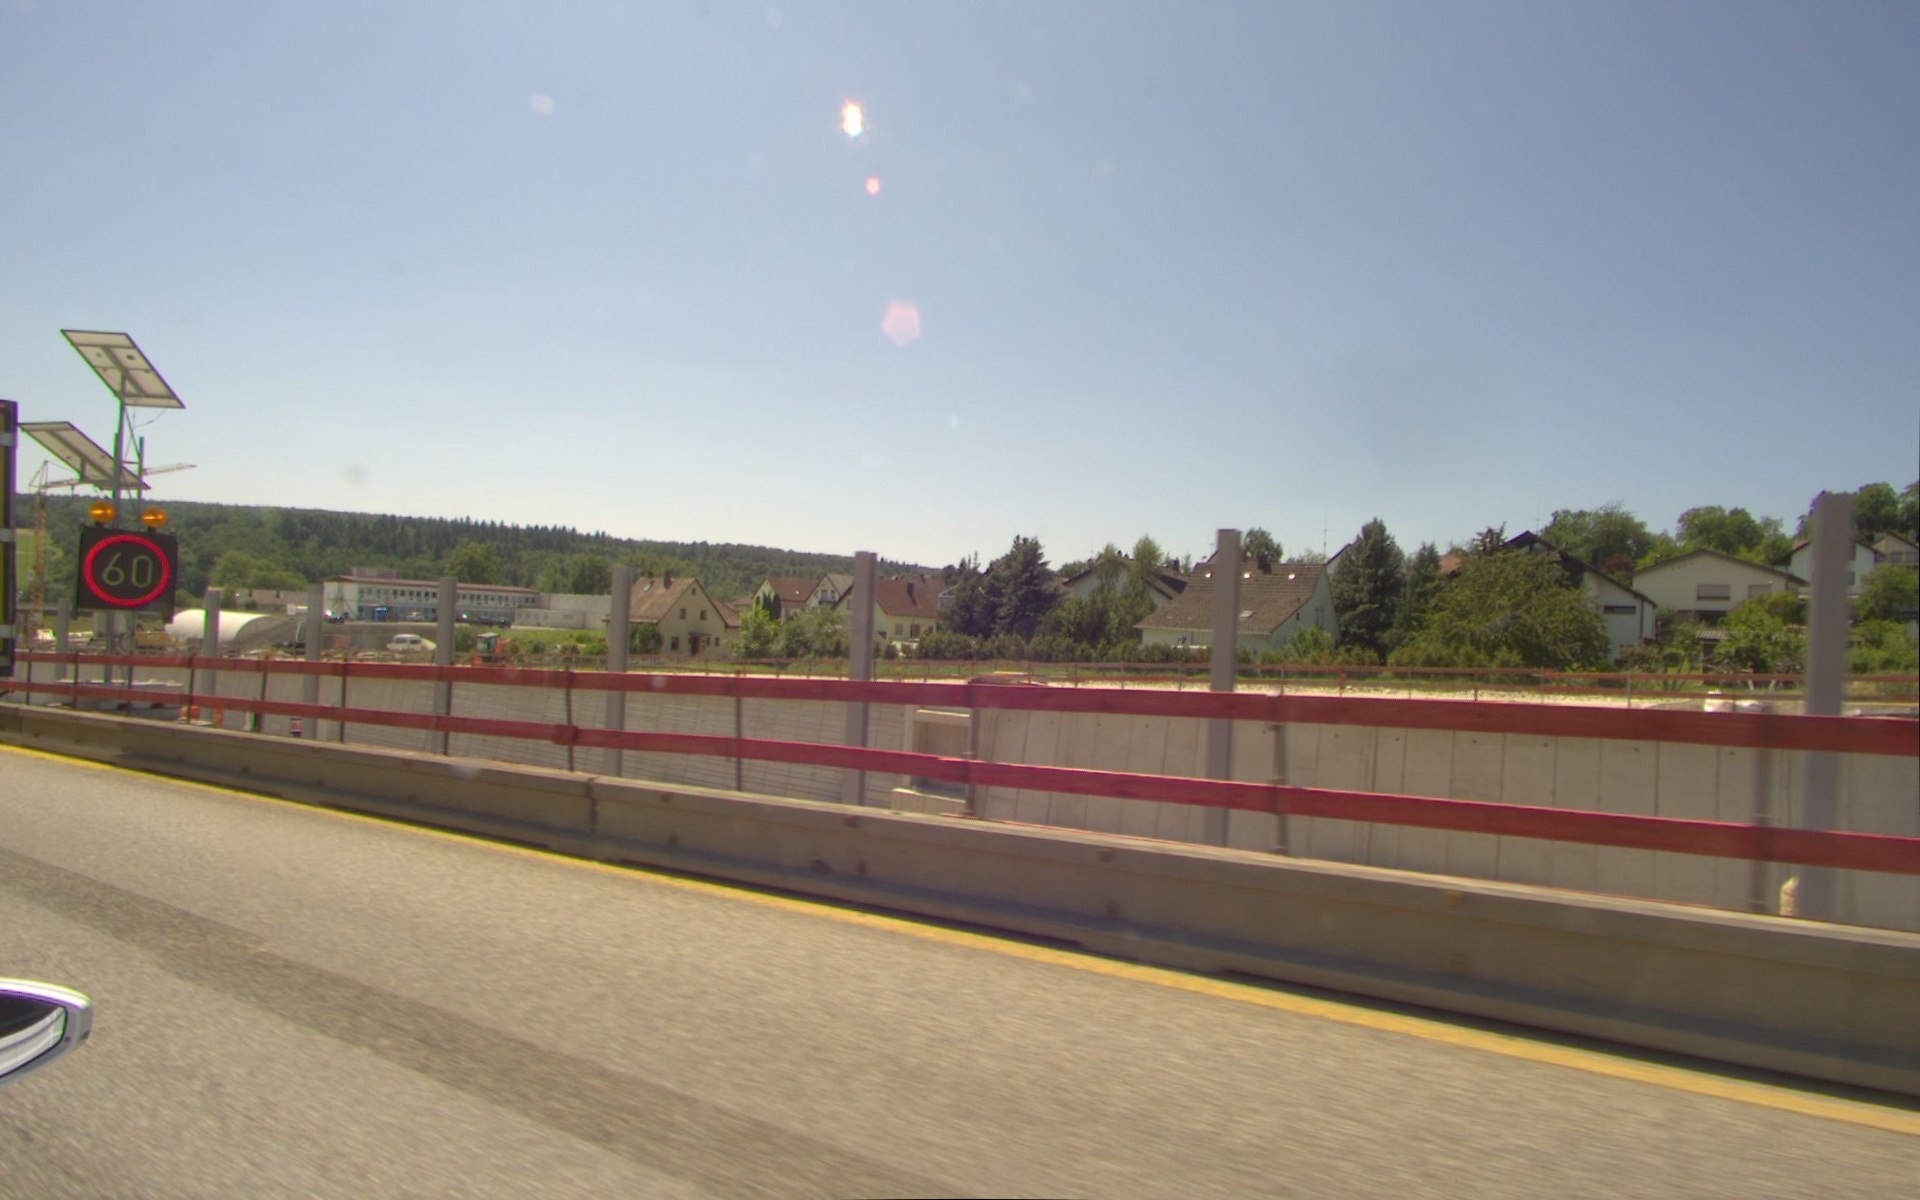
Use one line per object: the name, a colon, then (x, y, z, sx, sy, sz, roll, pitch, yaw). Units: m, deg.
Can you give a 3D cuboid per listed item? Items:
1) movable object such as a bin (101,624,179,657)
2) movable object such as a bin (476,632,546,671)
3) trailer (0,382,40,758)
movable object such as a bin: (-76.141, 3.709, 92.898, 9.346, 2.946, 2.882, -1, -2, 33)
movable object such as a bin: (-27.192, 3.057, 60.581, 4.093, 2.267, 1.990, -1, -2, 33)
trailer: (-16.933, -0.236, 13.754, 13.915, 4.110, 2.797, -1, -1, 32)
